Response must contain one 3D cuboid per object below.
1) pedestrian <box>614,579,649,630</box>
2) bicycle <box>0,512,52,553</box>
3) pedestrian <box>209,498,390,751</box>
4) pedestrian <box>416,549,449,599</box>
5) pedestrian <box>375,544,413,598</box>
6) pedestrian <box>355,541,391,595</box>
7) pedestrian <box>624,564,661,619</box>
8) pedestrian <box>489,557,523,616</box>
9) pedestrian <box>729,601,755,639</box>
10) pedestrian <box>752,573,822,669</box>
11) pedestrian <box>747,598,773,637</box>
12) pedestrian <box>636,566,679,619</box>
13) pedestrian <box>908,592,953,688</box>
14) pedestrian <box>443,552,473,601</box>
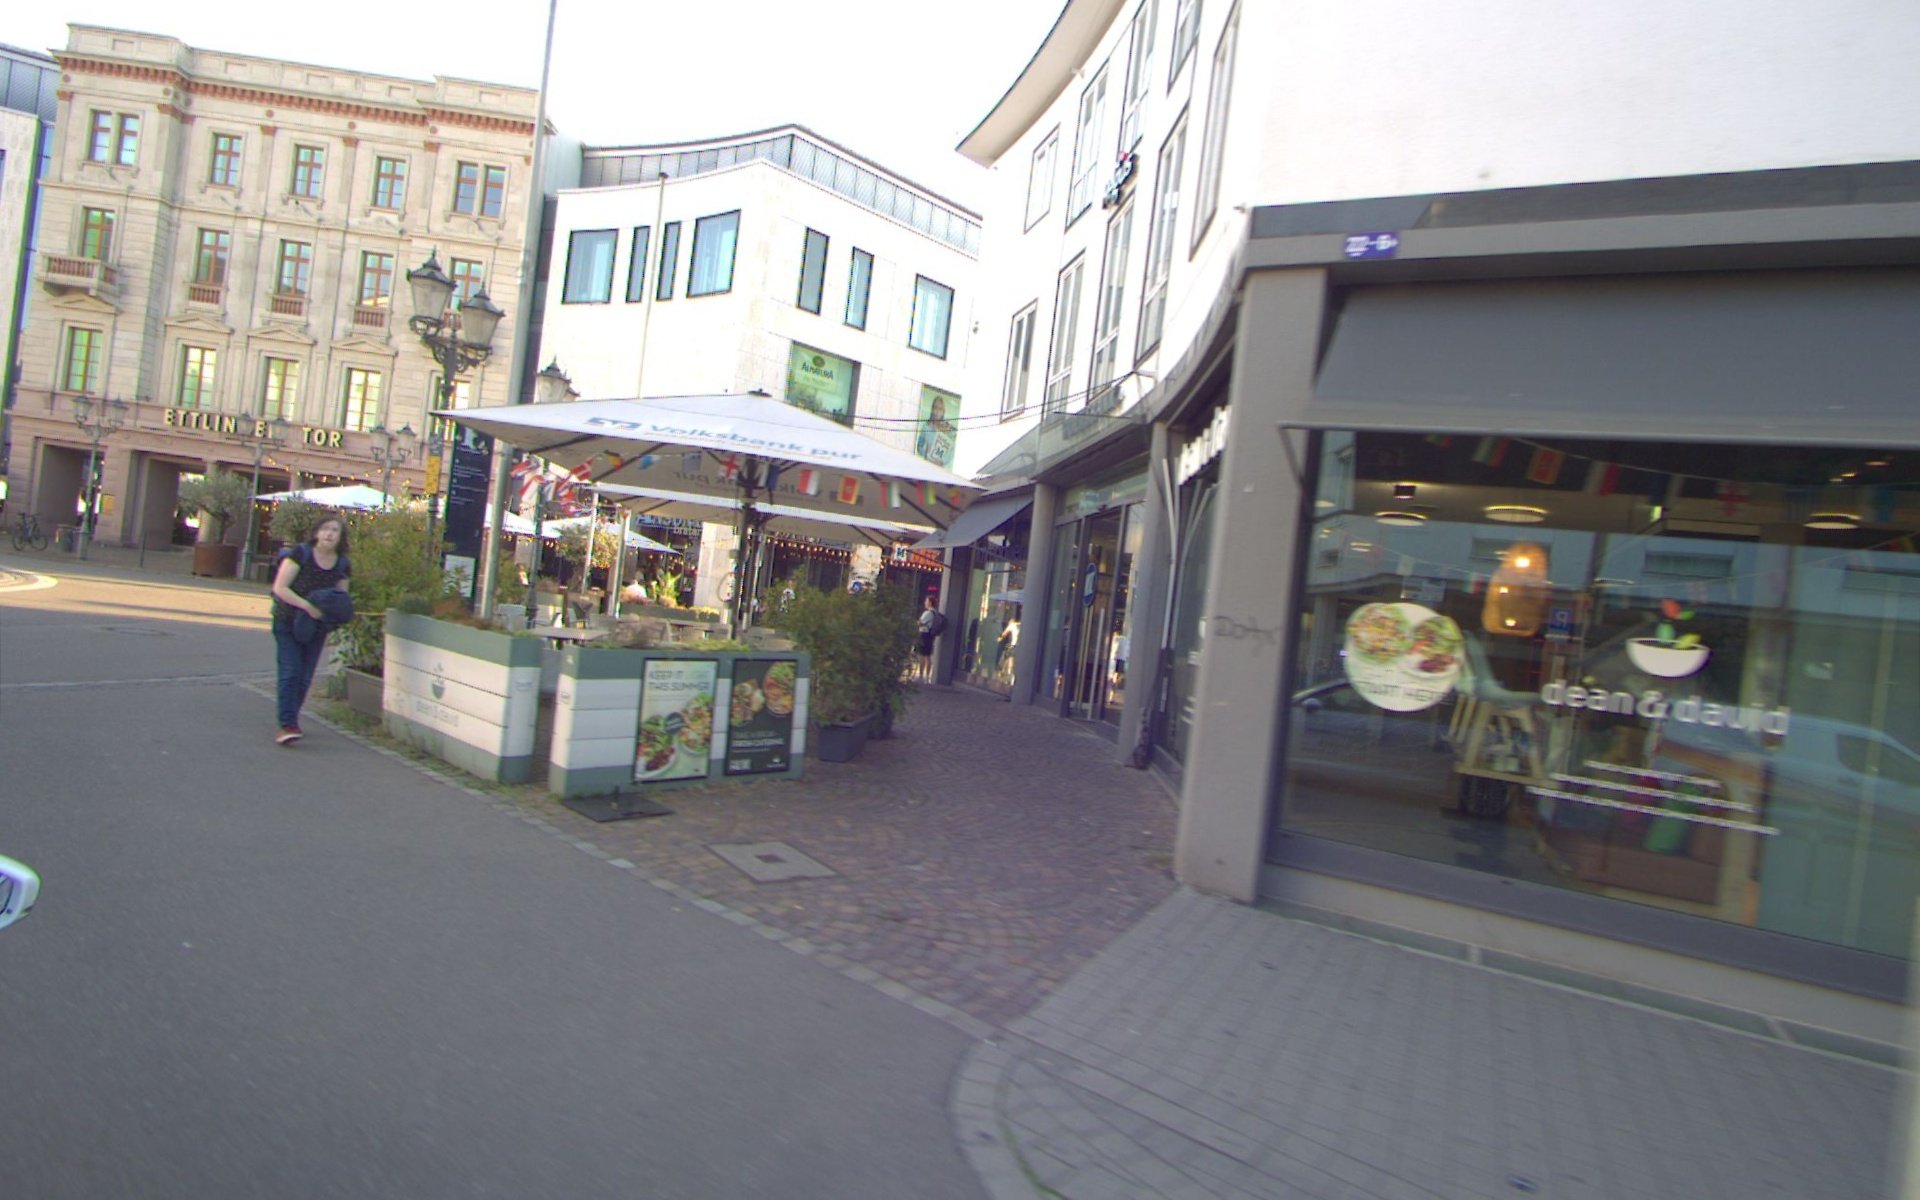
[{"bbox_3d":[-9.143,0.121,27.960,0.546,1.326,0.715,7,0,-42],"label":"pedestrian"},{"bbox_3d":[-25.803,-1.846,27.800,0.502,1.044,1.635,7,0,-26],"label":"bicycle"},{"bbox_3d":[-4.738,0.176,7.234,0.683,1.667,0.691,7,0,28],"label":"pedestrian"},{"bbox_3d":[-16.969,-0.844,32.362,0.615,1.496,0.589,7,1,40],"label":"pedestrian"},{"bbox_3d":[-16.632,-0.846,29.548,0.672,1.496,0.588,7,0,31],"label":"pedestrian"},{"bbox_3d":[-17.495,-0.950,29.986,0.613,1.496,0.544,7,1,30],"label":"pedestrian"},{"bbox_3d":[-10.190,-0.267,32.271,0.682,1.667,0.693,7,1,39],"label":"pedestrian"},{"bbox_3d":[-12.134,-0.365,26.875,0.526,1.496,0.556,7,1,-43],"label":"pedestrian"},{"bbox_3d":[-6.731,0.616,31.034,0.541,1.124,0.536,7,0,2],"label":"pedestrian"},{"bbox_3d":[-3.799,0.469,22.194,1.007,1.955,1.011,7,0,10],"label":"pedestrian"},{"bbox_3d":[-6.312,0.556,31.761,0.464,1.170,0.497,7,0,37],"label":"pedestrian"},{"bbox_3d":[-10.447,-0.271,34.701,0.855,1.667,0.927,7,0,40],"label":"pedestrian"},{"bbox_3d":[-0.604,0.818,20.652,0.555,1.877,0.458,7,0,43],"label":"pedestrian"},{"bbox_3d":[-16.514,-0.774,33.073,0.615,1.496,0.543,7,1,40],"label":"pedestrian"}]
